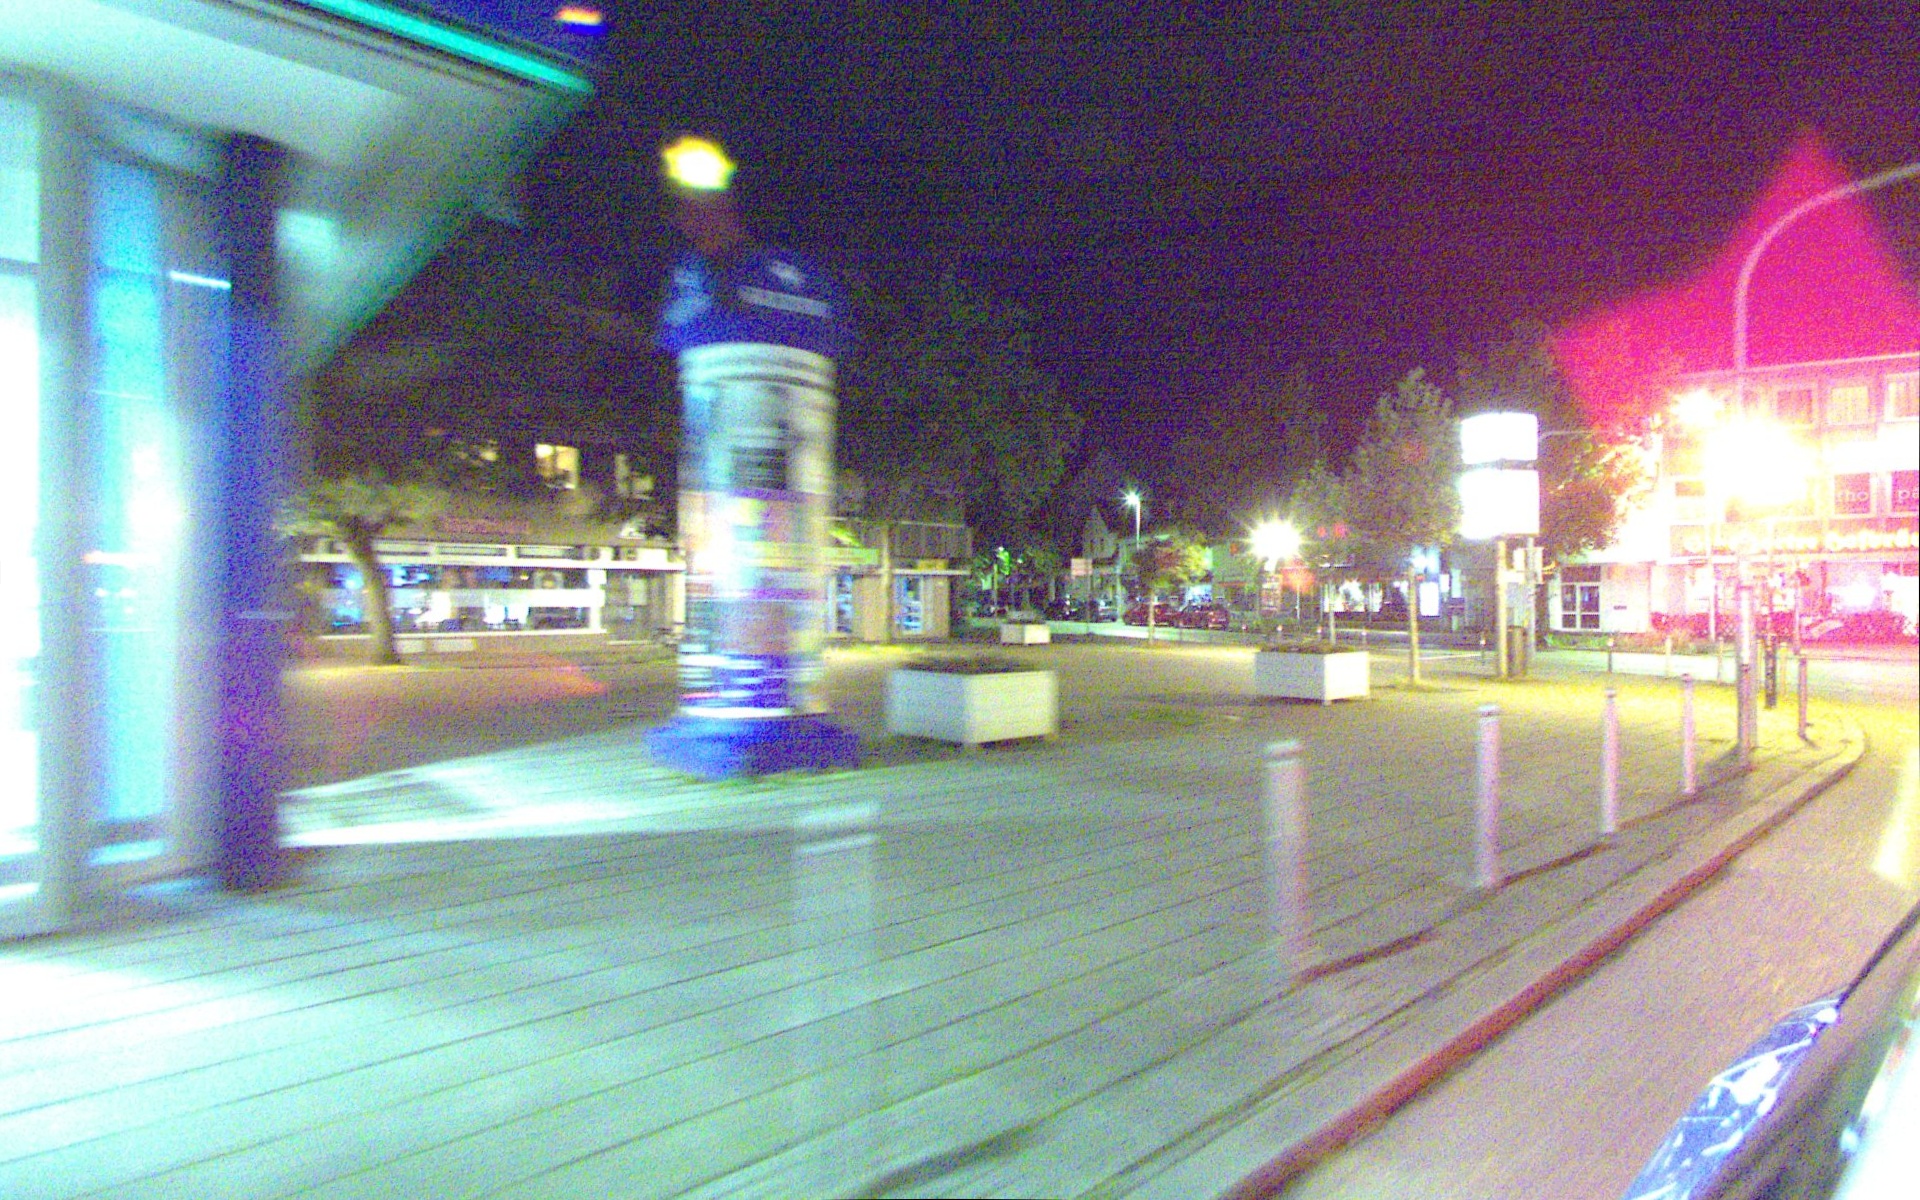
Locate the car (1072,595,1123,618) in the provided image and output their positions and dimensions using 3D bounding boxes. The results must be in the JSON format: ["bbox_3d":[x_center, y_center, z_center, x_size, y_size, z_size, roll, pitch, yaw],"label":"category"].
[{"bbox_3d":[9.454,0.421,69.727,1.855,1.471,3.903,2,0,-19],"label":"car"}]

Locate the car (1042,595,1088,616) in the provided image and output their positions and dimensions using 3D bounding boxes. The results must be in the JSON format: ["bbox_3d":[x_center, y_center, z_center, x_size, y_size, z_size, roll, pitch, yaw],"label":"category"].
[{"bbox_3d":[7.697,0.380,74.346,1.855,1.471,3.903,2,0,-19],"label":"car"}]

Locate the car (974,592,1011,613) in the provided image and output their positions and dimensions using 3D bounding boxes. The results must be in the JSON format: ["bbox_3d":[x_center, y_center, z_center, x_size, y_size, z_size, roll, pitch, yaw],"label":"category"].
[{"bbox_3d":[2.775,0.205,86.849,1.970,1.646,3.903,2,0,-17],"label":"car"}]

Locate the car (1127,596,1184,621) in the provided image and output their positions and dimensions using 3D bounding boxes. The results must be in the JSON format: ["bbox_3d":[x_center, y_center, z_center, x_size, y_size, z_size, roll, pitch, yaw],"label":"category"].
[{"bbox_3d":[12.061,0.506,62.760,1.855,1.471,3.903,2,0,-17],"label":"car"}]

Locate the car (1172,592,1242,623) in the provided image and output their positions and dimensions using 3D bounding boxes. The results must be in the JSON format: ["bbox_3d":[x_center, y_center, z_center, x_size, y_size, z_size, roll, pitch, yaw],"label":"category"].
[{"bbox_3d":[14.109,0.416,57.936,1.836,1.674,3.869,2,0,-26],"label":"car"}]
